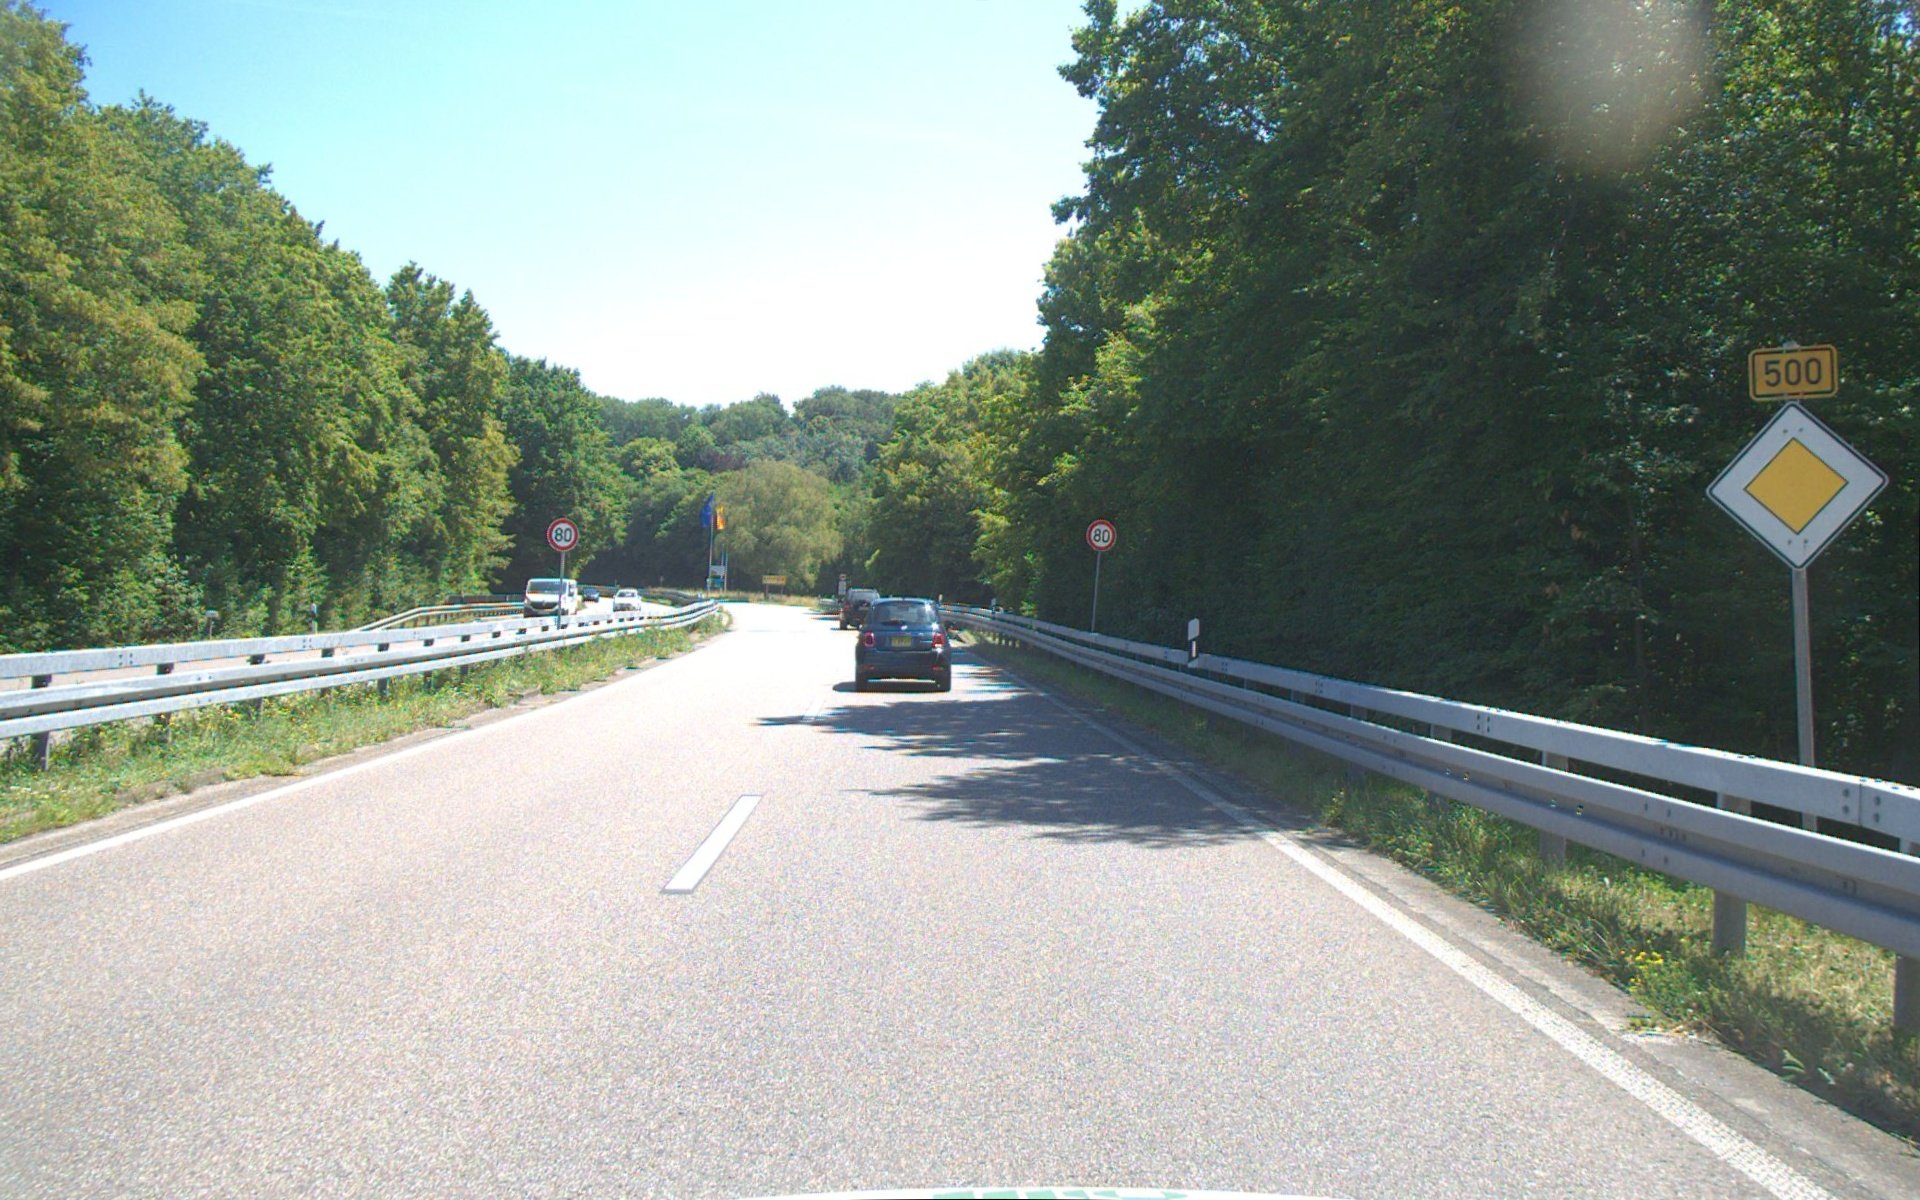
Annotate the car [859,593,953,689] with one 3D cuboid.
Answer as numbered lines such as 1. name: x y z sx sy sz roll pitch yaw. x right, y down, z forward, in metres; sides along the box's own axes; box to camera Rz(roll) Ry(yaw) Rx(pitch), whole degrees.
1. car: -0.919 0.647 28.159 1.483 1.527 3.588 0 0 -2

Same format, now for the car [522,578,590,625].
1. car: -17.757 0.048 73.007 1.950 1.985 5.635 0 0 -4

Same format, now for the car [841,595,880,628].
1. car: -4.176 0.478 69.329 1.496 1.336 3.410 0 0 -6

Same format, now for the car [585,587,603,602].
1. car: -39.722 -0.590 179.736 1.620 1.555 3.990 0 0 -9

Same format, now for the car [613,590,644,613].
1. car: -22.238 0.106 111.126 1.619 1.472 4.215 0 0 -5
